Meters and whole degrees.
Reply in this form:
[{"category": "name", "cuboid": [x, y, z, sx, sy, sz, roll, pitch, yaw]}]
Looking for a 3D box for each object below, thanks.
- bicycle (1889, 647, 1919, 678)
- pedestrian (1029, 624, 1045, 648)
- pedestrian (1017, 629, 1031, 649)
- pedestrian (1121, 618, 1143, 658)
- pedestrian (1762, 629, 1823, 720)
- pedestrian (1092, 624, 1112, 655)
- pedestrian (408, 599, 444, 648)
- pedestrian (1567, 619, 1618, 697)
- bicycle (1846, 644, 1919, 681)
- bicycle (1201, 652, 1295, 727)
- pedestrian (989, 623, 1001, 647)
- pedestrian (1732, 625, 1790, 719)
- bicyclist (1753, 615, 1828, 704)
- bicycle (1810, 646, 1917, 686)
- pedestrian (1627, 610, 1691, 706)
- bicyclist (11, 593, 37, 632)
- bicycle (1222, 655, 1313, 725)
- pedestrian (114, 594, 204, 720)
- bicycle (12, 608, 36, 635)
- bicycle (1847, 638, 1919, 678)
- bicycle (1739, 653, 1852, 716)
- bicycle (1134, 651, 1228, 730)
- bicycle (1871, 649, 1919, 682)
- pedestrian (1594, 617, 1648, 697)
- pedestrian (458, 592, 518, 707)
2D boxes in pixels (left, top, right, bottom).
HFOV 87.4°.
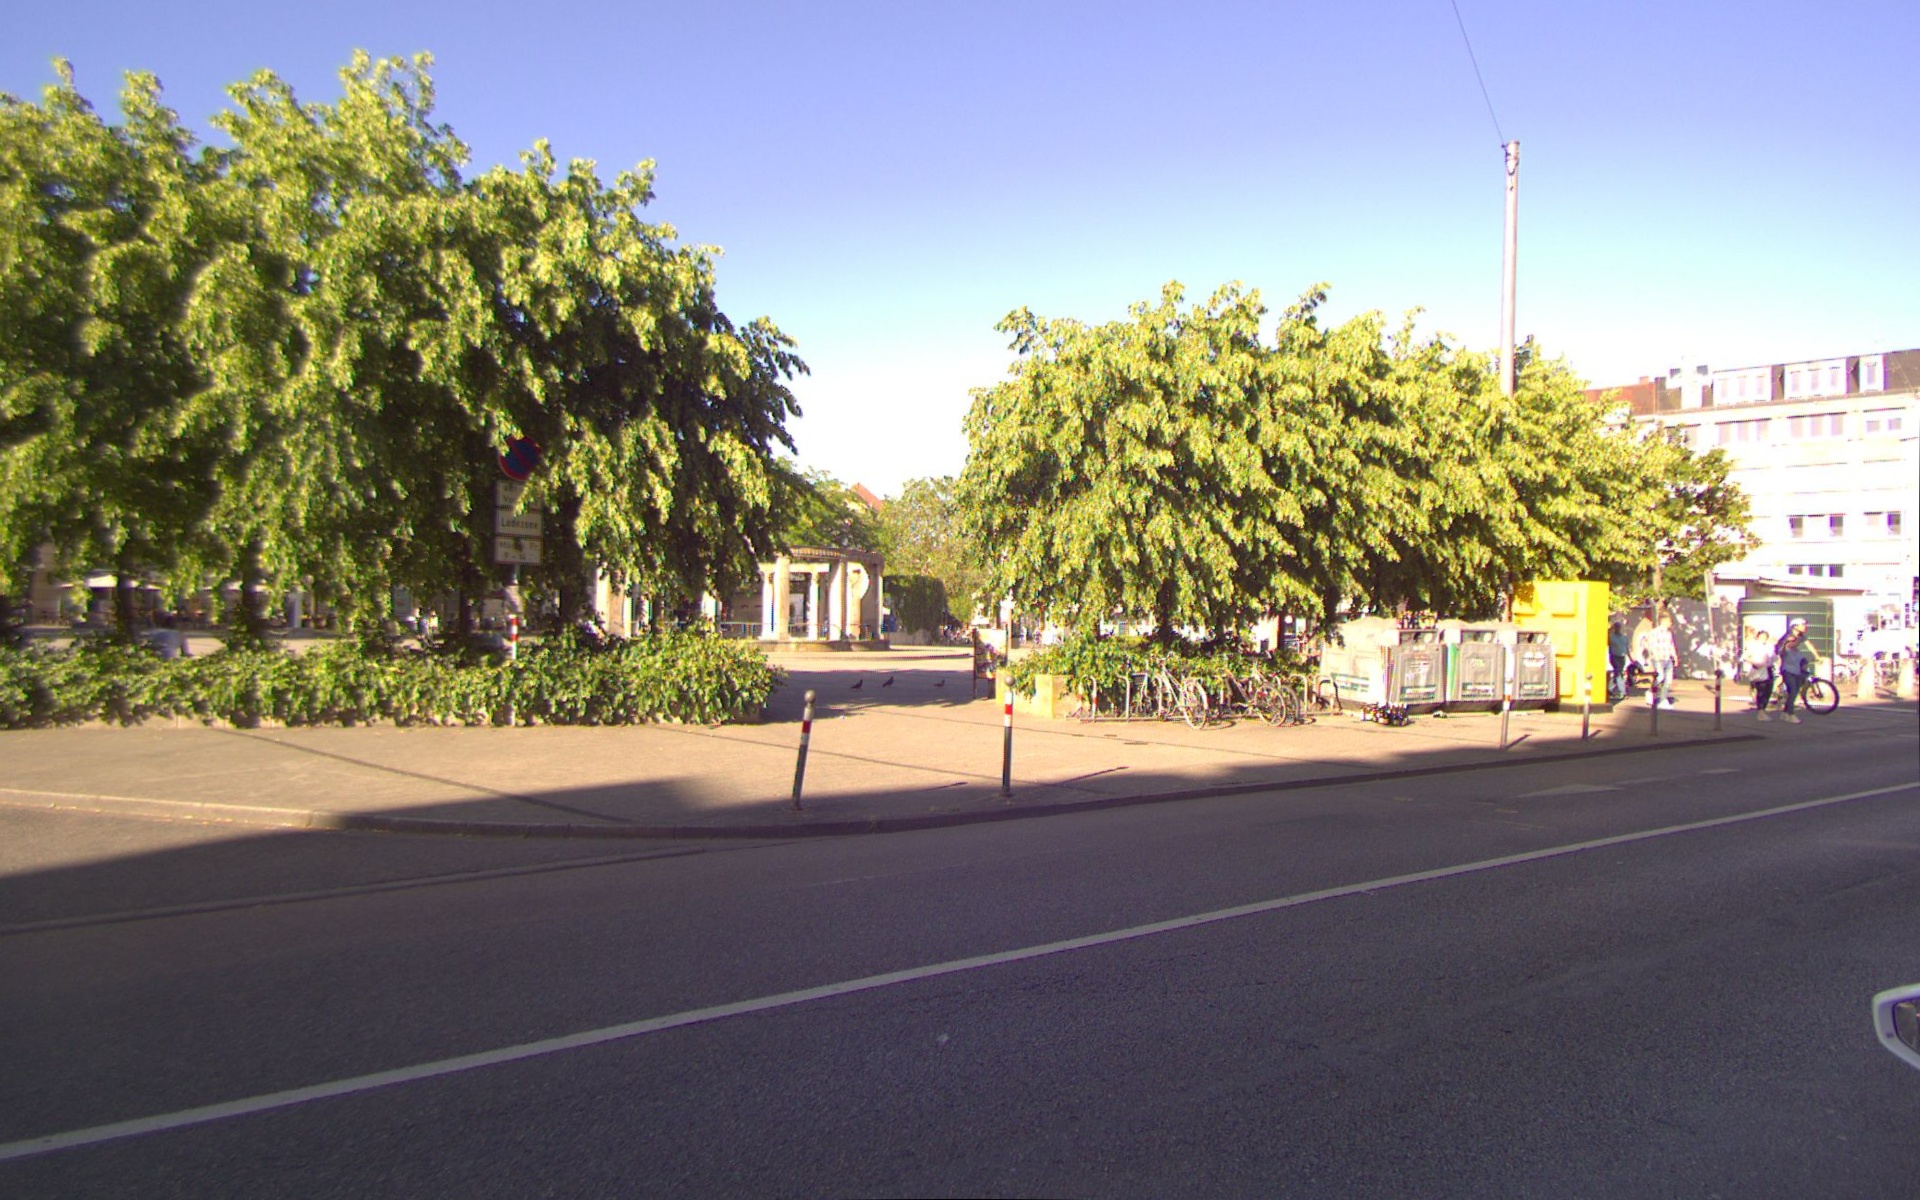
[{"category": "bicycle", "cuboid": [37.720, 2.450, 38.990, 0.834, 1.171, 2.308, 2, -1, -34]}, {"category": "pedestrian", "cuboid": [6.888, 3.224, 89.872, 1.251, 2.040, 1.285, 1, -1, 1]}, {"category": "pedestrian", "cuboid": [6.595, 4.017, 104.127, 1.252, 2.040, 1.285, 1, 0, -4]}, {"category": "pedestrian", "cuboid": [8.997, 1.994, 52.700, 0.913, 2.040, 1.185, 1, -1, 0]}, {"category": "pedestrian", "cuboid": [15.898, 1.413, 19.198, 0.608, 1.684, 0.685, 1, -1, 6]}, {"category": "pedestrian", "cuboid": [9.563, 2.668, 67.641, 0.804, 2.040, 1.047, 1, -1, -31]}, {"category": "pedestrian", "cuboid": [-19.551, 0.863, 36.793, 0.723, 1.781, 0.898, 1, -1, 29]}, {"category": "pedestrian", "cuboid": [14.953, 1.352, 23.761, 0.640, 1.792, 0.897, 1, -1, 1]}, {"category": "bicycle", "cuboid": [32.166, 2.149, 34.512, 0.833, 1.171, 2.449, 1, -1, -31]}, {"category": "bicycle", "cuboid": [4.446, 1.361, 15.590, 0.425, 1.036, 1.561, 1, -1, -28]}, {"category": "pedestrian", "cuboid": [3.058, 3.107, 88.270, 0.886, 2.041, 1.286, 0, 1, 10]}, {"category": "pedestrian", "cuboid": [15.279, 1.354, 19.180, 0.661, 1.751, 0.549, 1, -1, 3]}, {"category": "bicyclist", "cuboid": [17.984, 1.275, 21.761, 0.773, 1.862, 0.952, 1, 0, -6]}, {"category": "bicycle", "cuboid": [29.951, 2.161, 33.345, 0.833, 1.171, 2.493, 1, -1, -31]}, {"category": "pedestrian", "cuboid": [14.843, 1.226, 21.350, 0.699, 1.981, 0.828, 1, 0, -18]}, {"category": "bicyclist", "cuboid": [-35.256, 0.476, 37.843, 0.668, 1.447, 0.690, 2, -1, -43]}, {"category": "bicycle", "cuboid": [4.843, 1.395, 15.899, 0.425, 0.971, 1.518, 0, 0, -28]}, {"category": "pedestrian", "cuboid": [-11.691, 0.814, 14.687, 0.725, 1.781, 0.895, 1, -1, -19]}, {"category": "bicycle", "cuboid": [-35.243, 0.807, 37.832, 0.585, 0.966, 1.883, 2, -1, -42]}, {"category": "bicycle", "cuboid": [33.526, 2.061, 36.002, 0.913, 1.341, 2.461, 2, -1, -35]}, {"category": "bicycle", "cuboid": [17.958, 1.784, 21.669, 0.528, 1.154, 2.065, 1, 1, -6]}, {"category": "bicycle", "cuboid": [3.278, 1.324, 15.006, 0.425, 1.031, 1.590, 1, 0, -28]}, {"category": "bicycle", "cuboid": [35.797, 2.454, 37.510, 0.834, 1.171, 2.517, 2, -1, -34]}, {"category": "pedestrian", "cuboid": [15.618, 1.328, 23.738, 0.727, 1.851, 0.847, 1, -1, 4]}, {"category": "pedestrian", "cuboid": [-7.513, 0.775, 16.023, 0.725, 1.781, 0.895, 1, -1, -19]}]
